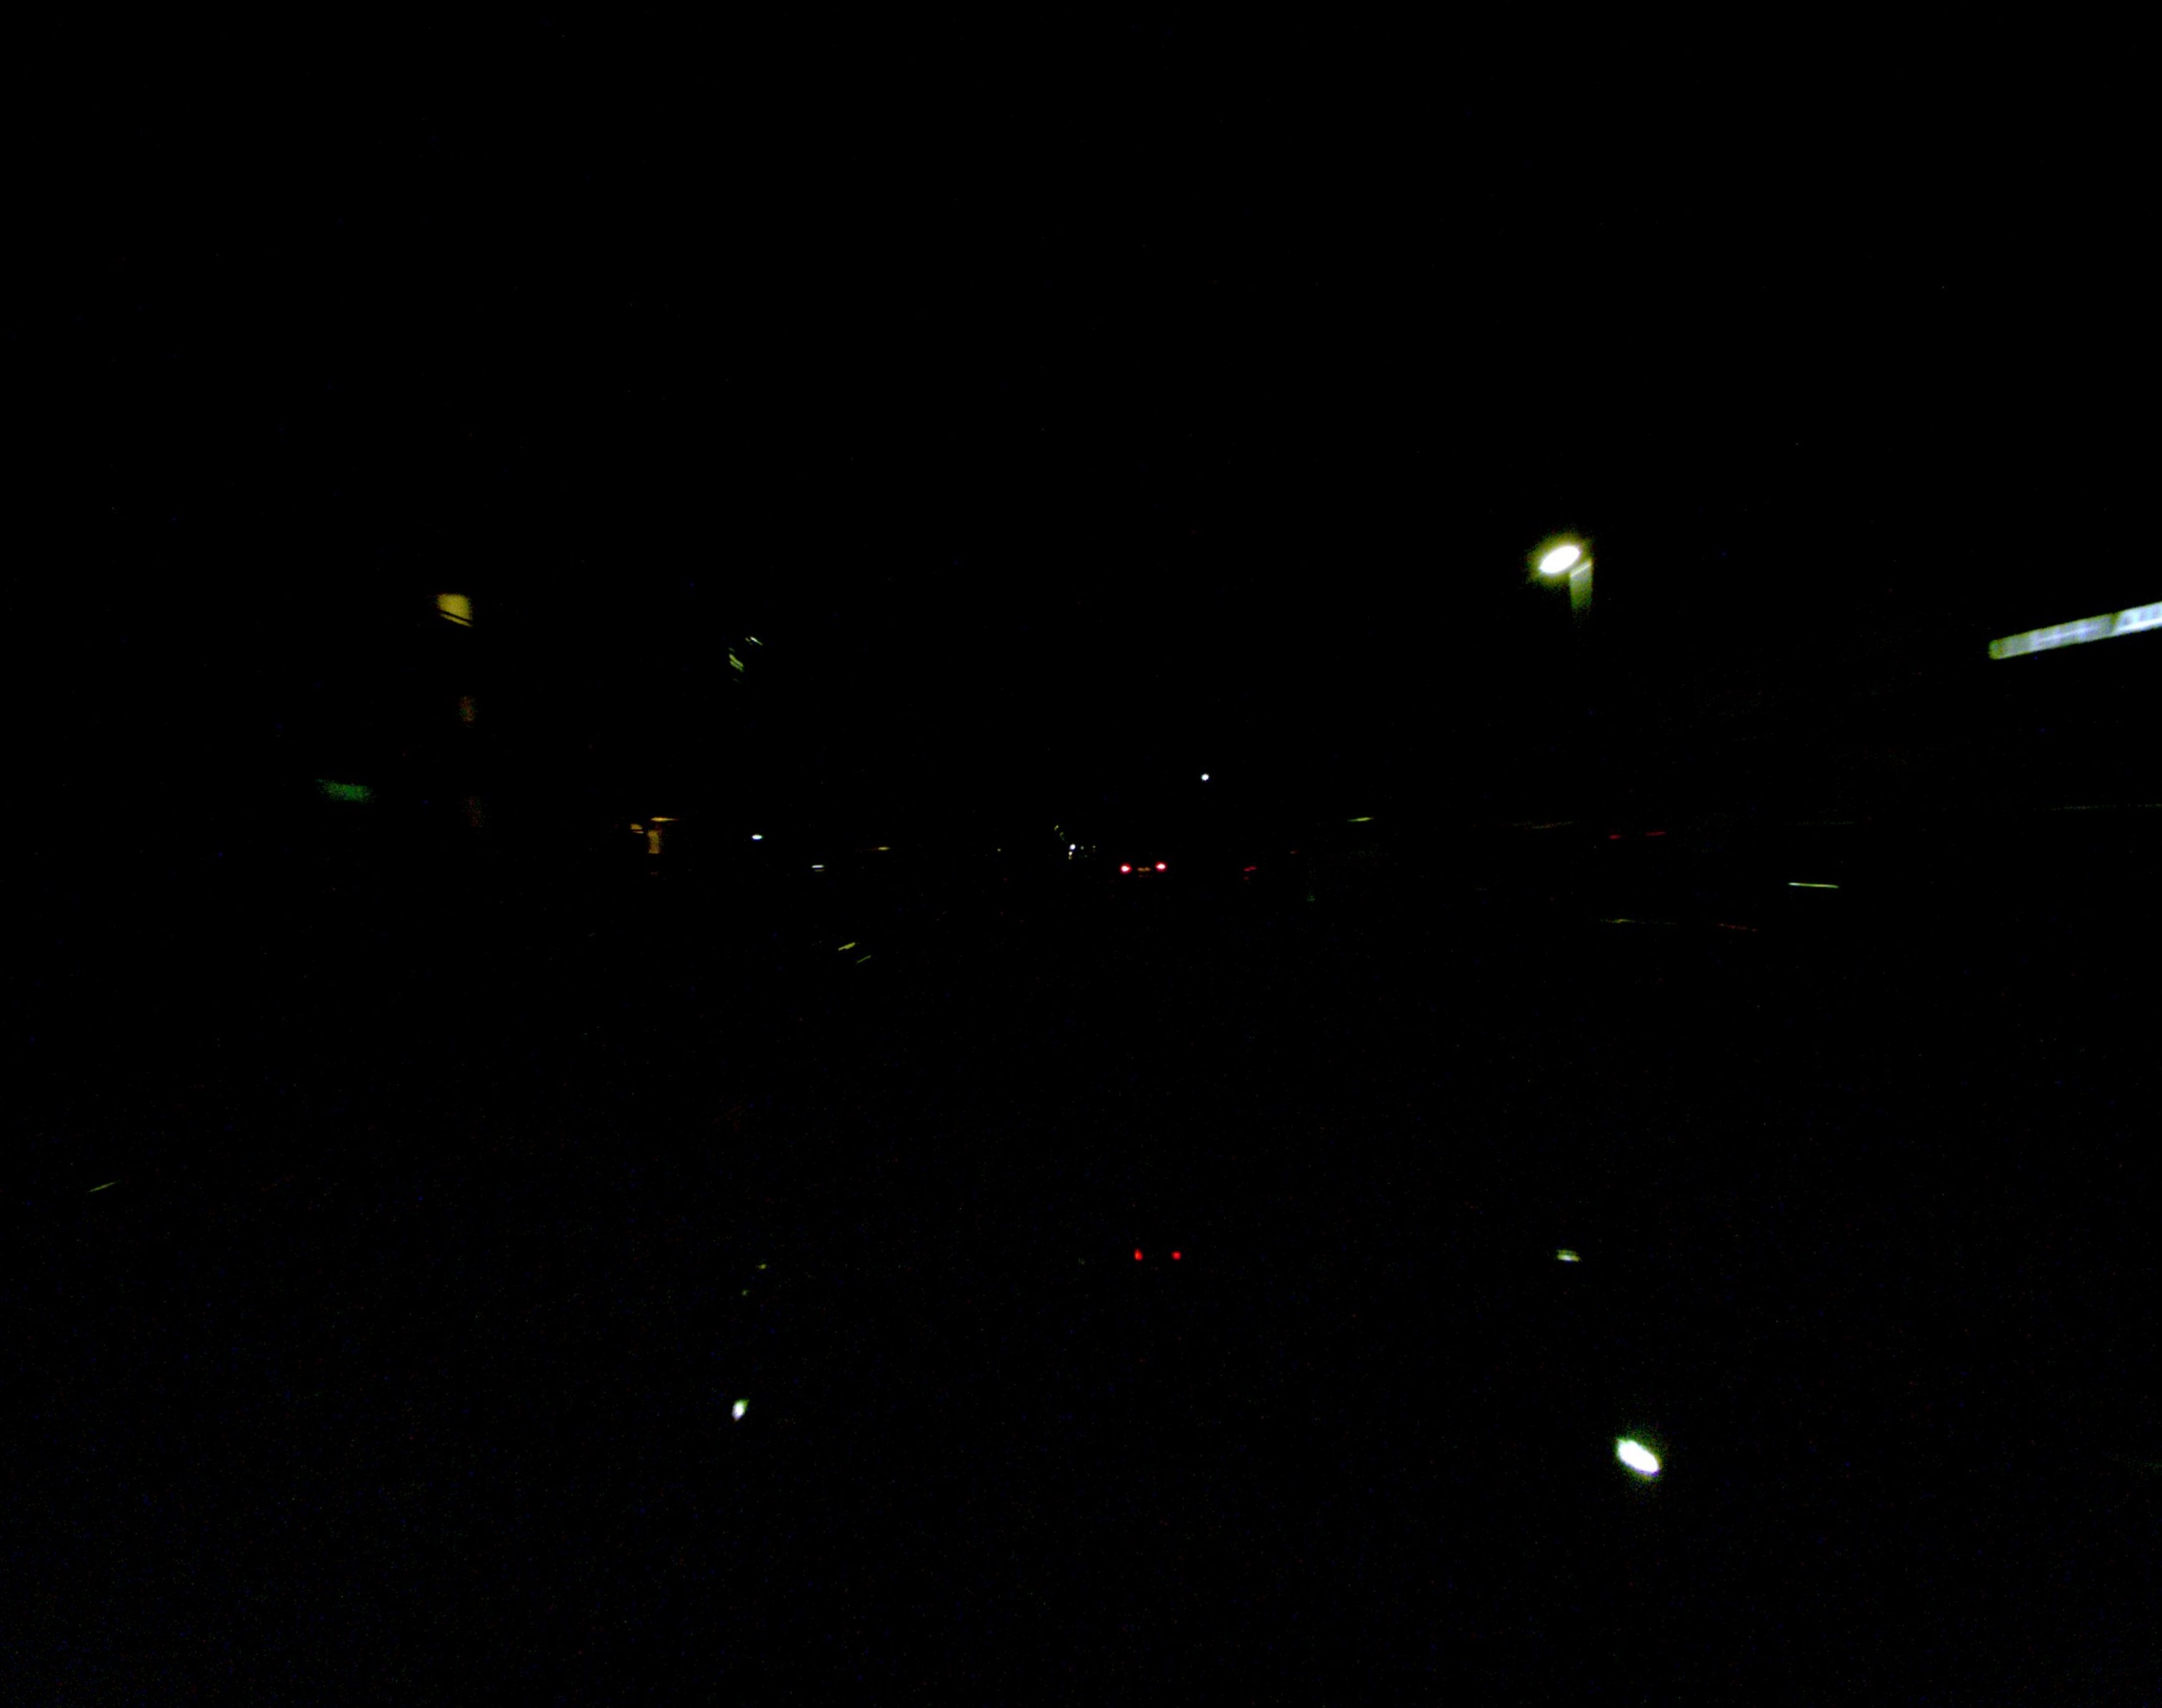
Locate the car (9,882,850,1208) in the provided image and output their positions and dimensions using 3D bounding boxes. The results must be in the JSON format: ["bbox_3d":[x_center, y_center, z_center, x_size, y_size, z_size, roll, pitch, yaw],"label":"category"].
[{"bbox_3d":[-3.821,1.072,5.132,3.927,1.505,1.854,-3,0,-3],"label":"car"}]

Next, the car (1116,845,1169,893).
[{"bbox_3d":[2.401,0.557,30.493,1.724,1.705,3.960,-3,0,-1],"label":"car"}]

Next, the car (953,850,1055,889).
[{"bbox_3d":[-4.048,0.803,40.828,5.156,1.834,2.259,-3,0,-1],"label":"car"}]

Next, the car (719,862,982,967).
[{"bbox_3d":[-3.944,1.009,13.477,3.924,1.542,1.988,-3,0,4],"label":"car"}]

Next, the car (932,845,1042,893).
[{"bbox_3d":[-4.609,0.713,37.986,5.156,2.084,2.259,-3,0,-1],"label":"car"}]

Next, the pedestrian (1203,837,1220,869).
[{"bbox_3d":[8.117,-0.082,47.272,0.747,1.893,0.829,-5,1,0],"label":"pedestrian"}]

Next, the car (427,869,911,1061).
[{"bbox_3d":[-3.968,1.040,7.894,3.926,1.505,1.854,-3,1,-1],"label":"car"}]

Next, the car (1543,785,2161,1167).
[{"bbox_3d":[5.406,0.433,4.760,2.121,1.539,4.475,-4,1,-2],"label":"car"}]

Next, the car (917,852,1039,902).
[{"bbox_3d":[-4.048,0.906,30.180,4.284,1.688,2.001,-3,0,10],"label":"car"}]

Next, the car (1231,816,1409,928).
[{"bbox_3d":[4.969,0.340,16.710,2.121,1.935,4.887,-5,0,-2],"label":"car"}]

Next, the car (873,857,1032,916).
[{"bbox_3d":[-4.069,1.010,24.684,4.665,1.548,2.107,-3,0,3],"label":"car"}]

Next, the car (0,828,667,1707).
[{"bbox_3d":[-4.248,0.941,2.734,4.364,1.805,2.032,-3,0,5],"label":"car"}]

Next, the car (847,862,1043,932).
[{"bbox_3d":[-3.262,1.020,18.845,4.409,1.411,1.935,-3,0,2],"label":"car"}]

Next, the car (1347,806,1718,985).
[{"bbox_3d":[5.327,0.419,9.804,2.121,1.661,4.168,-4,0,-2],"label":"car"}]
